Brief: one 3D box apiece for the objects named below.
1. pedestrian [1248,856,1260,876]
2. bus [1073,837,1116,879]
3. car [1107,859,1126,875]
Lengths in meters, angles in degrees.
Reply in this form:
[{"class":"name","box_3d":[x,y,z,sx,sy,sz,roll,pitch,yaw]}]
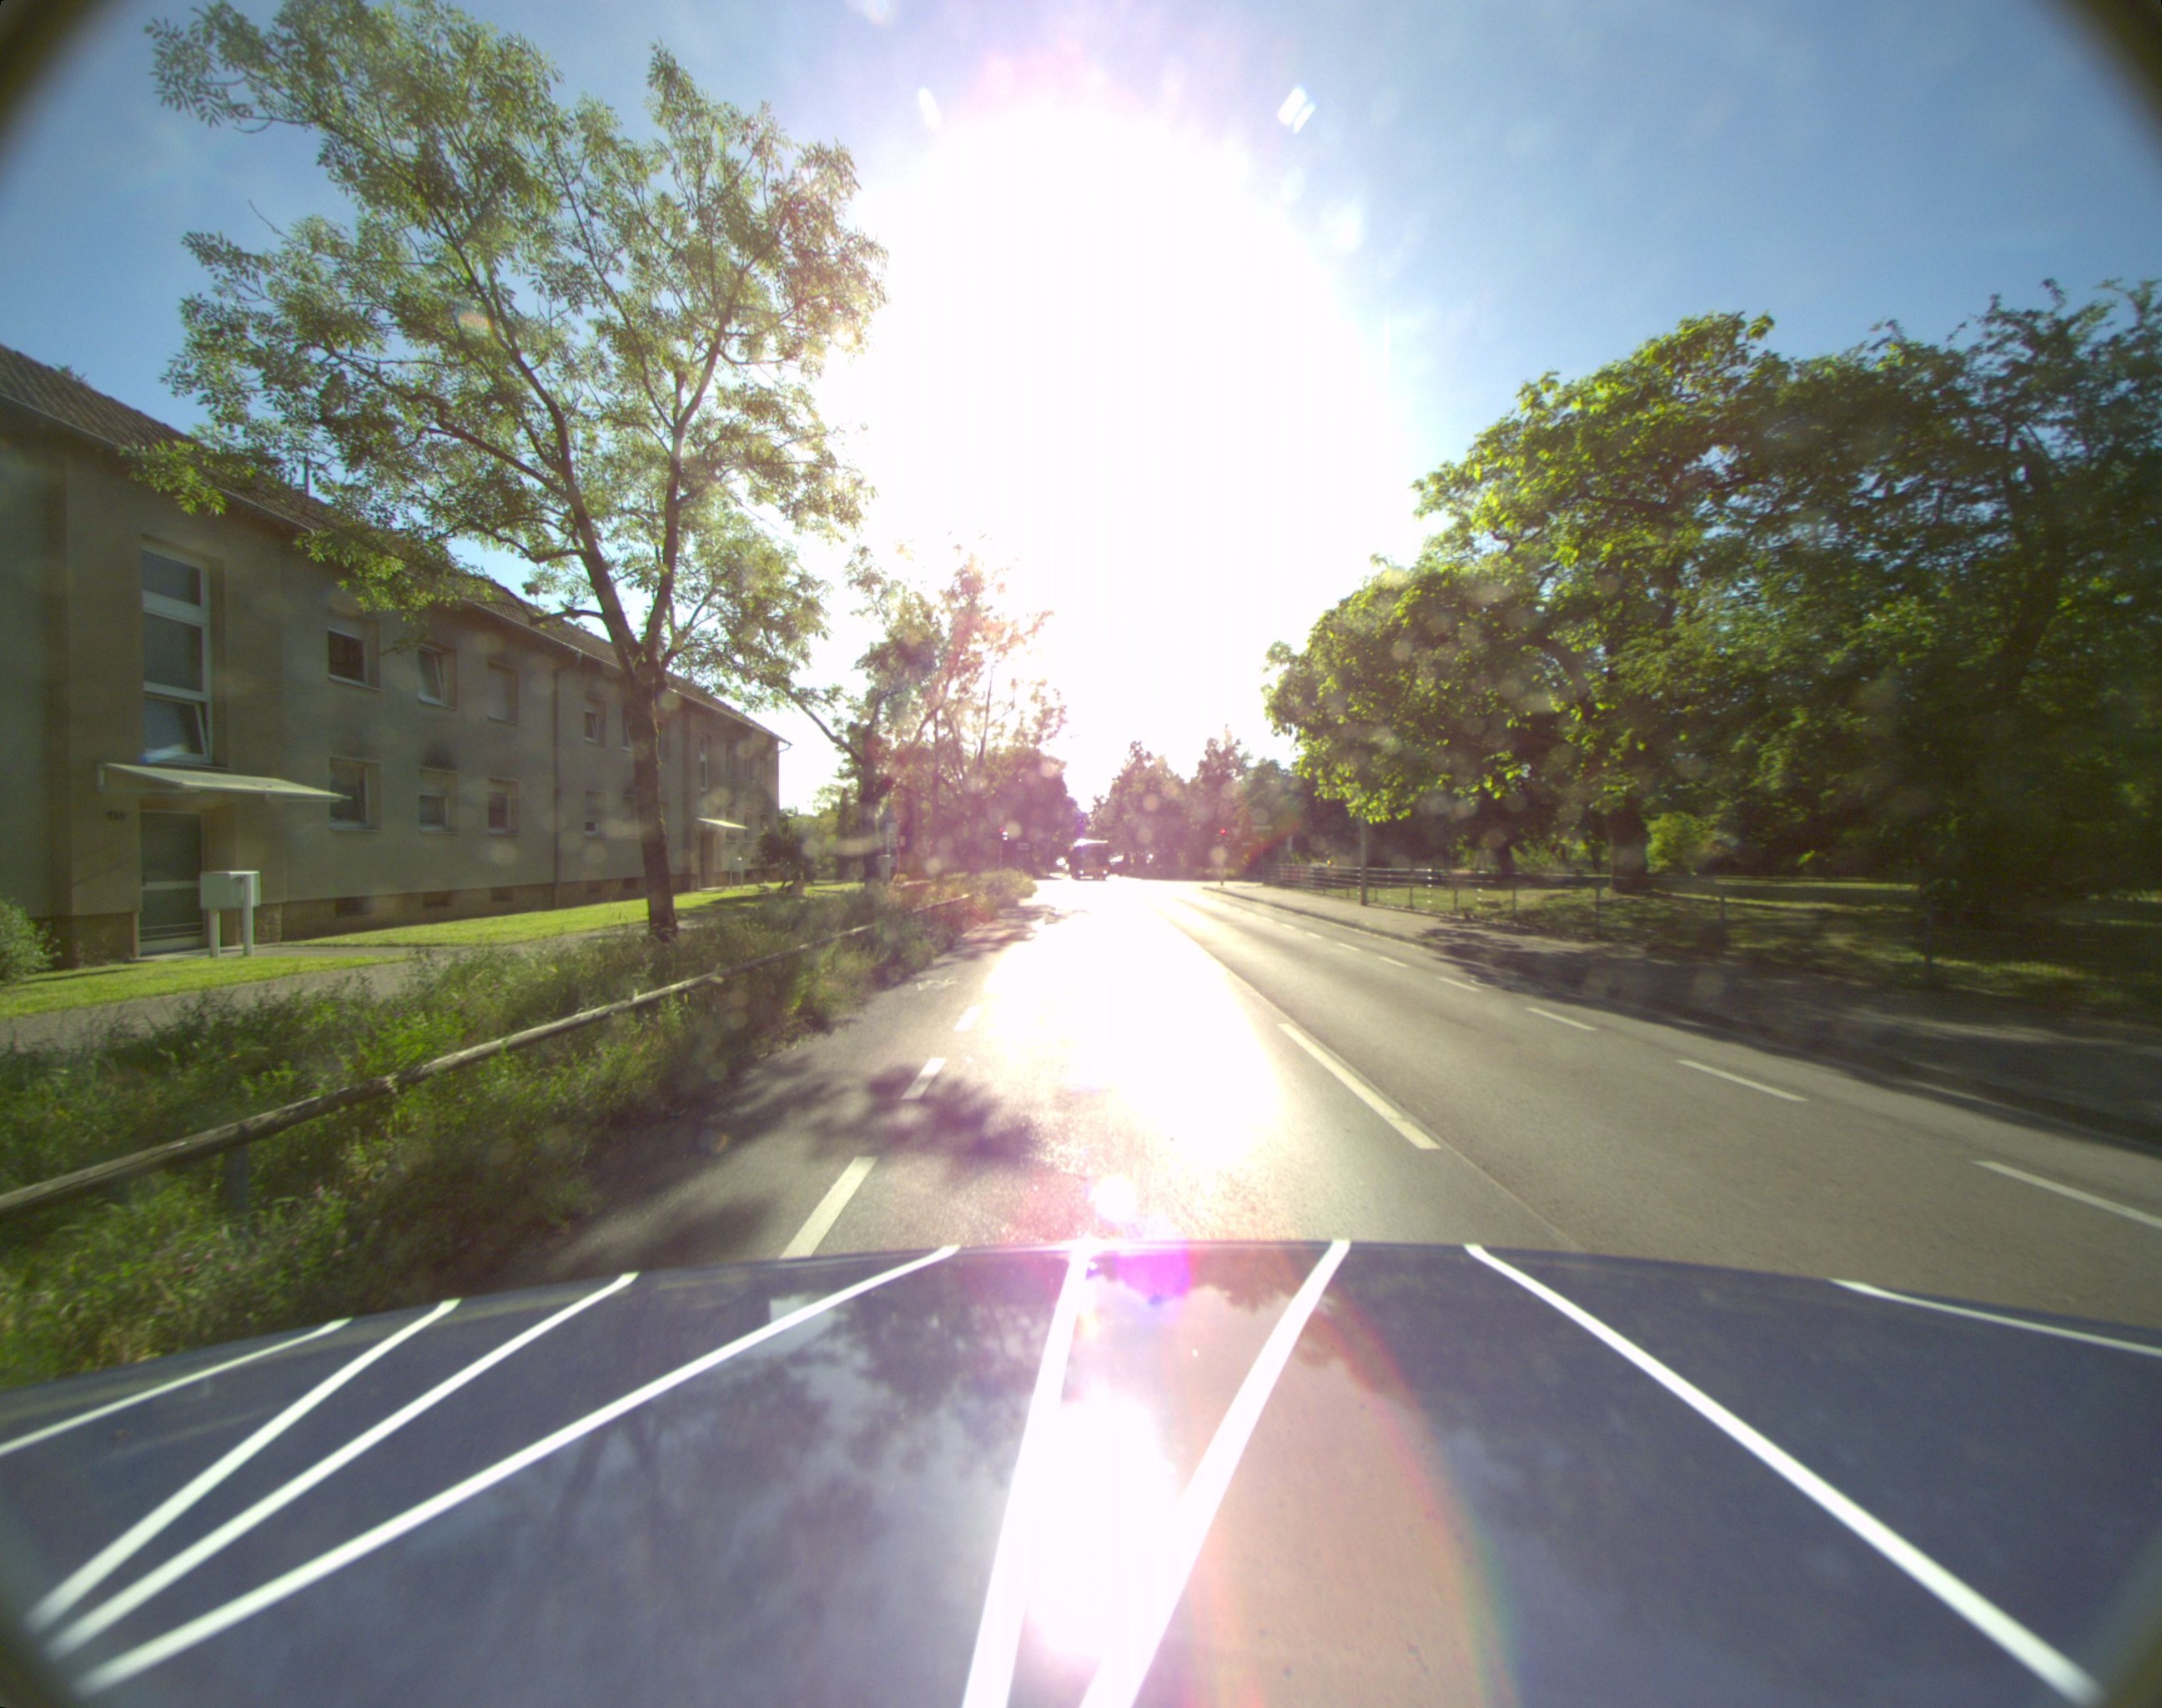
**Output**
[{"class":"pedestrian","box_3d":[14.253,0.951,62.687,0.800,1.624,0.647,-2,0,1]},{"class":"bus","box_3d":[1.144,0.361,63.279,3.128,3.080,12.481,-2,-1,1]},{"class":"car","box_3d":[3.720,1.341,80.124,1.819,1.608,4.392,1,0,1]}]
